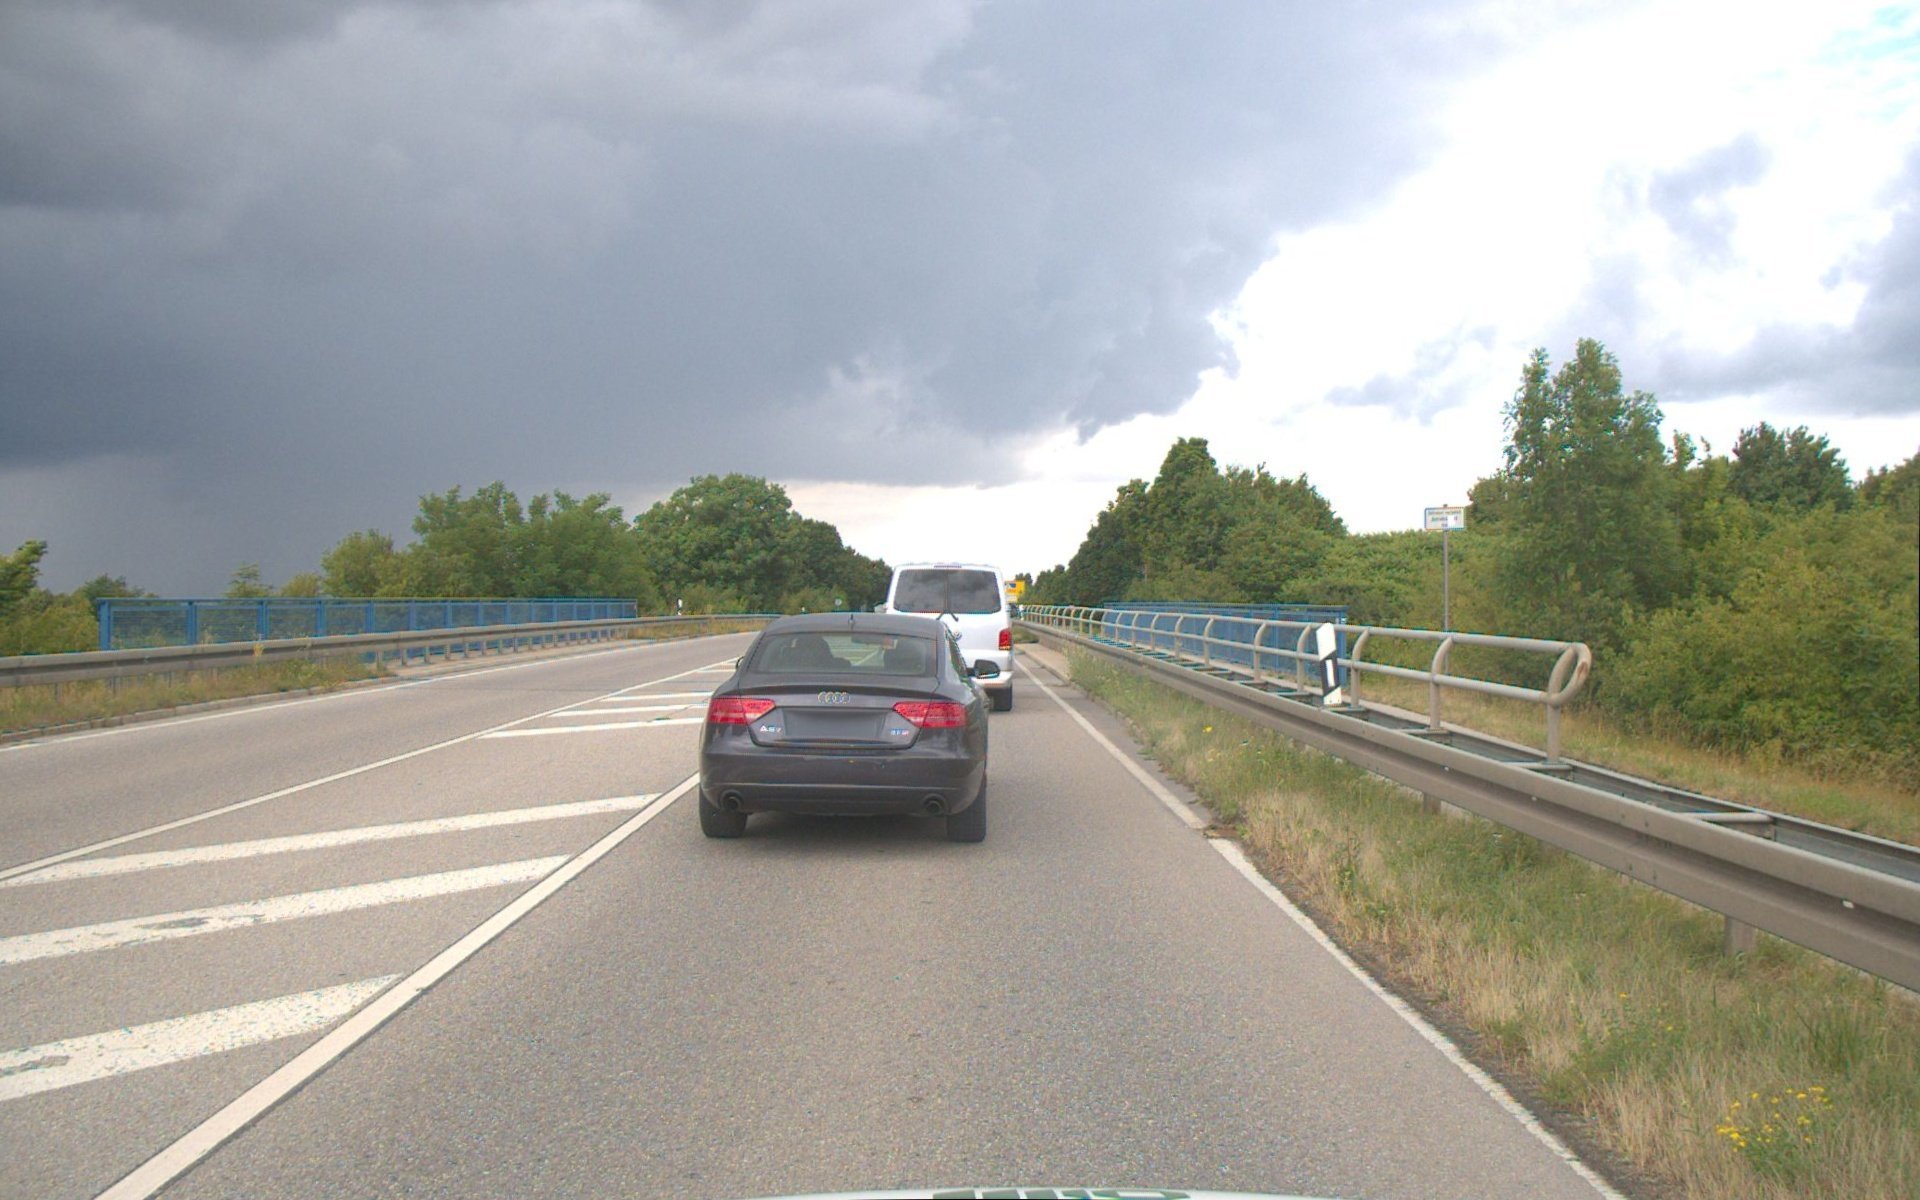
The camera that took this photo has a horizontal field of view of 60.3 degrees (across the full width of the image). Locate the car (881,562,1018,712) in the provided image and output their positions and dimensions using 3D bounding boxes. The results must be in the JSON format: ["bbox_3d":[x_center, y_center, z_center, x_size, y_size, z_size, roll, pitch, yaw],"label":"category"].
[{"bbox_3d":[-0.159,0.490,23.654,1.791,1.969,3.999,0,0,-1],"label":"car"}]

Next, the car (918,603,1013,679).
[{"bbox_3d":[0.125,0.776,33.066,1.784,1.405,4.072,0,0,1],"label":"car"}]

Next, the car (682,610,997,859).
[{"bbox_3d":[-0.660,0.774,11.408,1.784,1.405,4.072,0,0,1],"label":"car"}]
